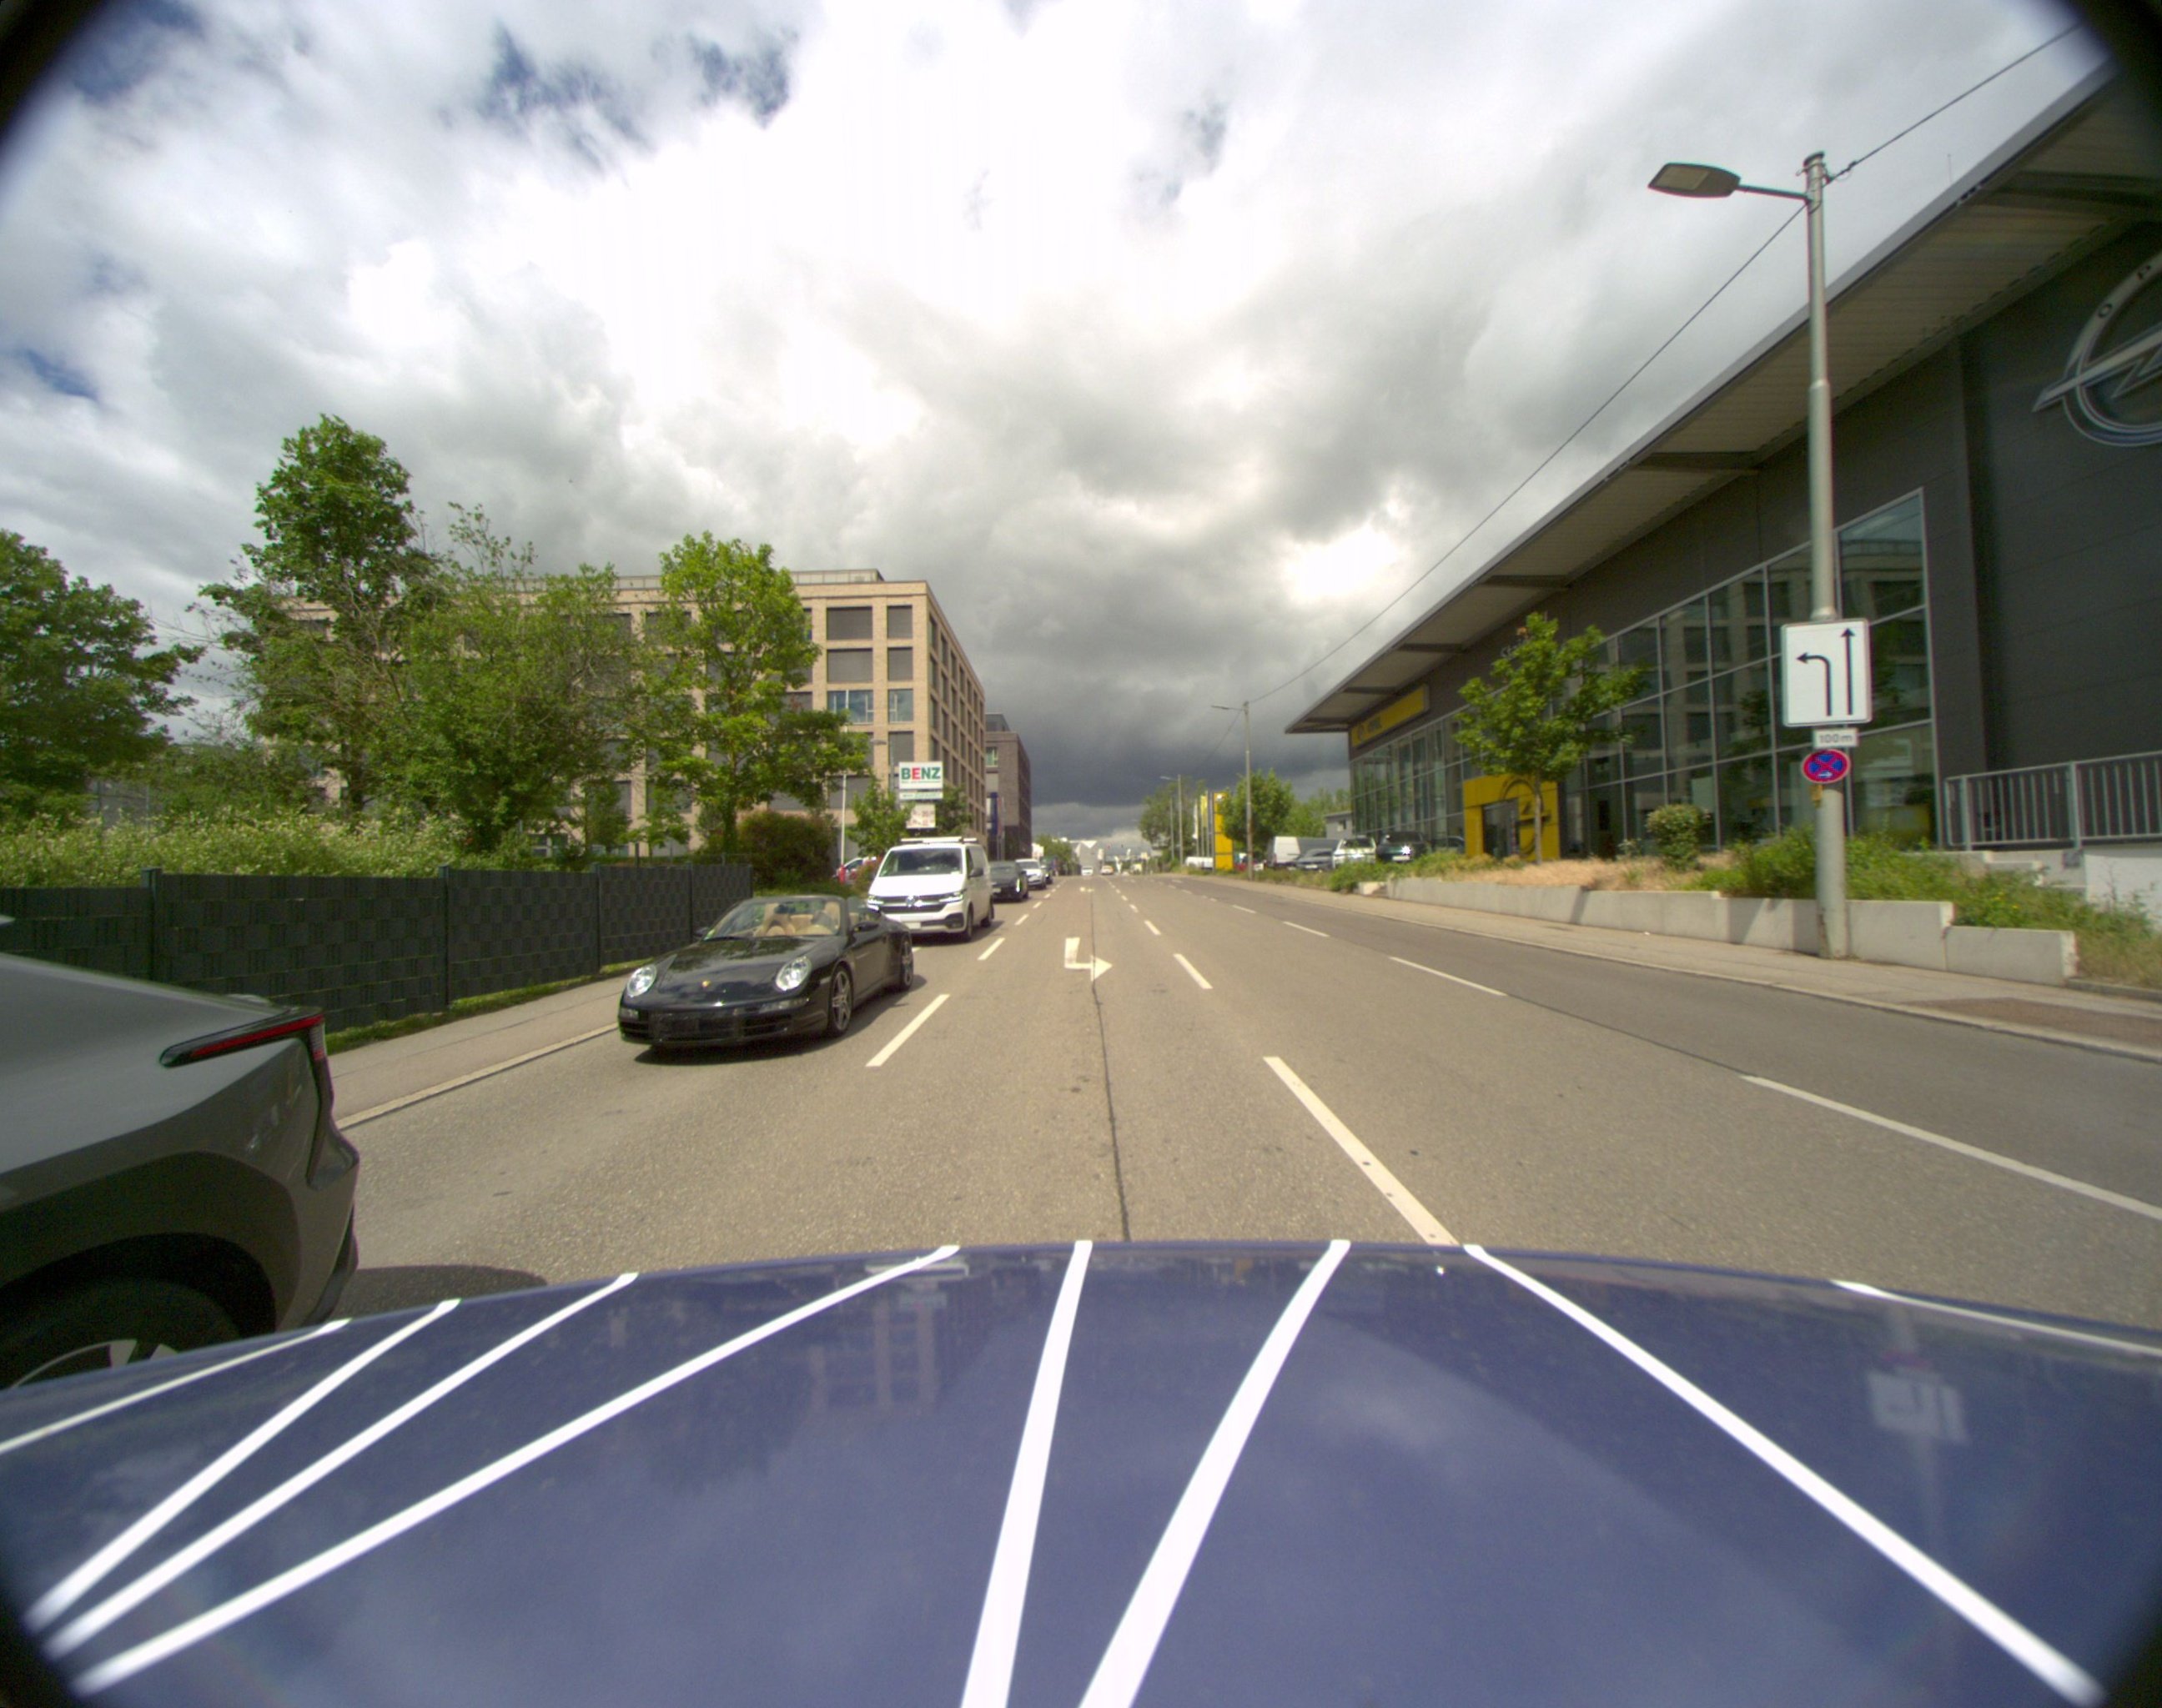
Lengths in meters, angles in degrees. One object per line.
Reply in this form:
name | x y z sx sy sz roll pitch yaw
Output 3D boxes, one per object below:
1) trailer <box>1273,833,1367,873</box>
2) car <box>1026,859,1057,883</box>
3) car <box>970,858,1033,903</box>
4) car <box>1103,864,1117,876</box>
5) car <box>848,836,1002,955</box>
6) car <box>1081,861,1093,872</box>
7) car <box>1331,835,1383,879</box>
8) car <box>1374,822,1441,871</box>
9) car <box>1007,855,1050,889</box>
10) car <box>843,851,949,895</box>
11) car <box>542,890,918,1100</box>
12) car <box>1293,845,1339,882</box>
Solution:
trailer | 14.449 -0.076 46.172 5.074 2.336 2.000 -1 1 -1
car | -2.449 1.048 47.436 1.662 1.351 4.000 -1 0 1
car | -2.831 0.907 27.885 1.818 1.454 4.000 -1 0 1
car | 4.487 2.471 116.946 1.998 1.731 4.547 -2 0 1
car | -3.018 0.728 15.887 2.089 2.037 4.760 -2 0 1
car | 1.070 2.093 129.969 1.998 1.819 4.547 -2 0 2
car | 12.166 0.122 33.438 1.995 1.783 4.006 -1 0 21
car | 12.334 -0.259 28.928 1.996 1.718 4.005 -1 0 18
car | -2.595 0.889 38.426 1.818 1.577 4.000 -1 0 1
car | -7.630 0.749 31.652 3.998 1.723 1.822 -1 1 -3
car | -3.040 1.148 7.670 1.824 1.286 4.038 -2 0 1
car | 12.105 0.461 39.012 1.995 1.783 4.006 -1 0 21
